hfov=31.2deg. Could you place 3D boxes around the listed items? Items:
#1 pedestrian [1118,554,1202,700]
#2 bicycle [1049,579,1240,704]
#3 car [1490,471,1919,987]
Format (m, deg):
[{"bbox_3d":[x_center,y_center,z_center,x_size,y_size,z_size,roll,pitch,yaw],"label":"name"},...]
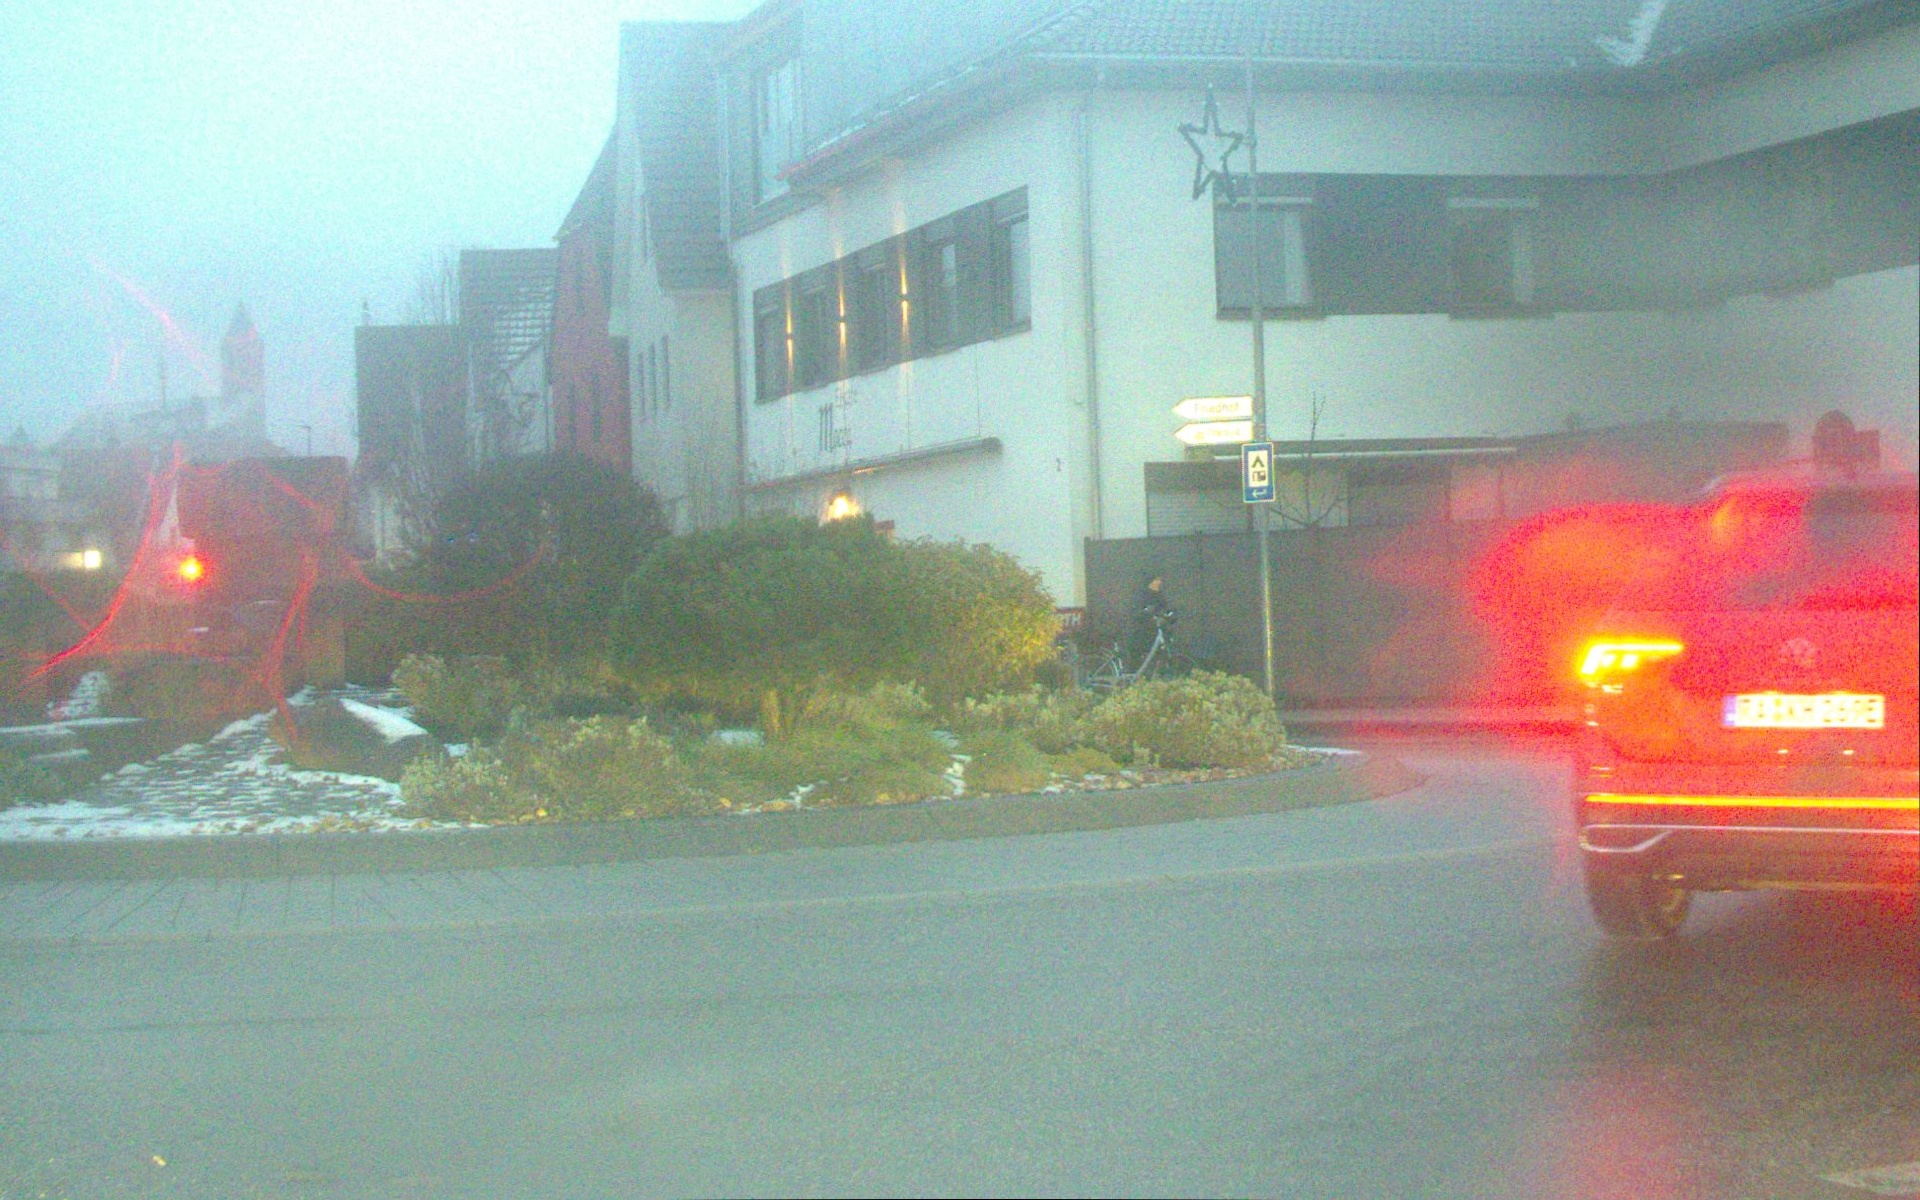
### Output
[{"bbox_3d":[2.164,0.290,37.180,0.690,1.559,0.609,-1,1,25],"label":"pedestrian"},{"bbox_3d":[1.961,0.444,36.716,1.939,1.291,0.551,-1,2,25],"label":"bicycle"},{"bbox_3d":[3.537,0.336,12.644,1.918,1.609,3.944,-1,2,28],"label":"car"}]
